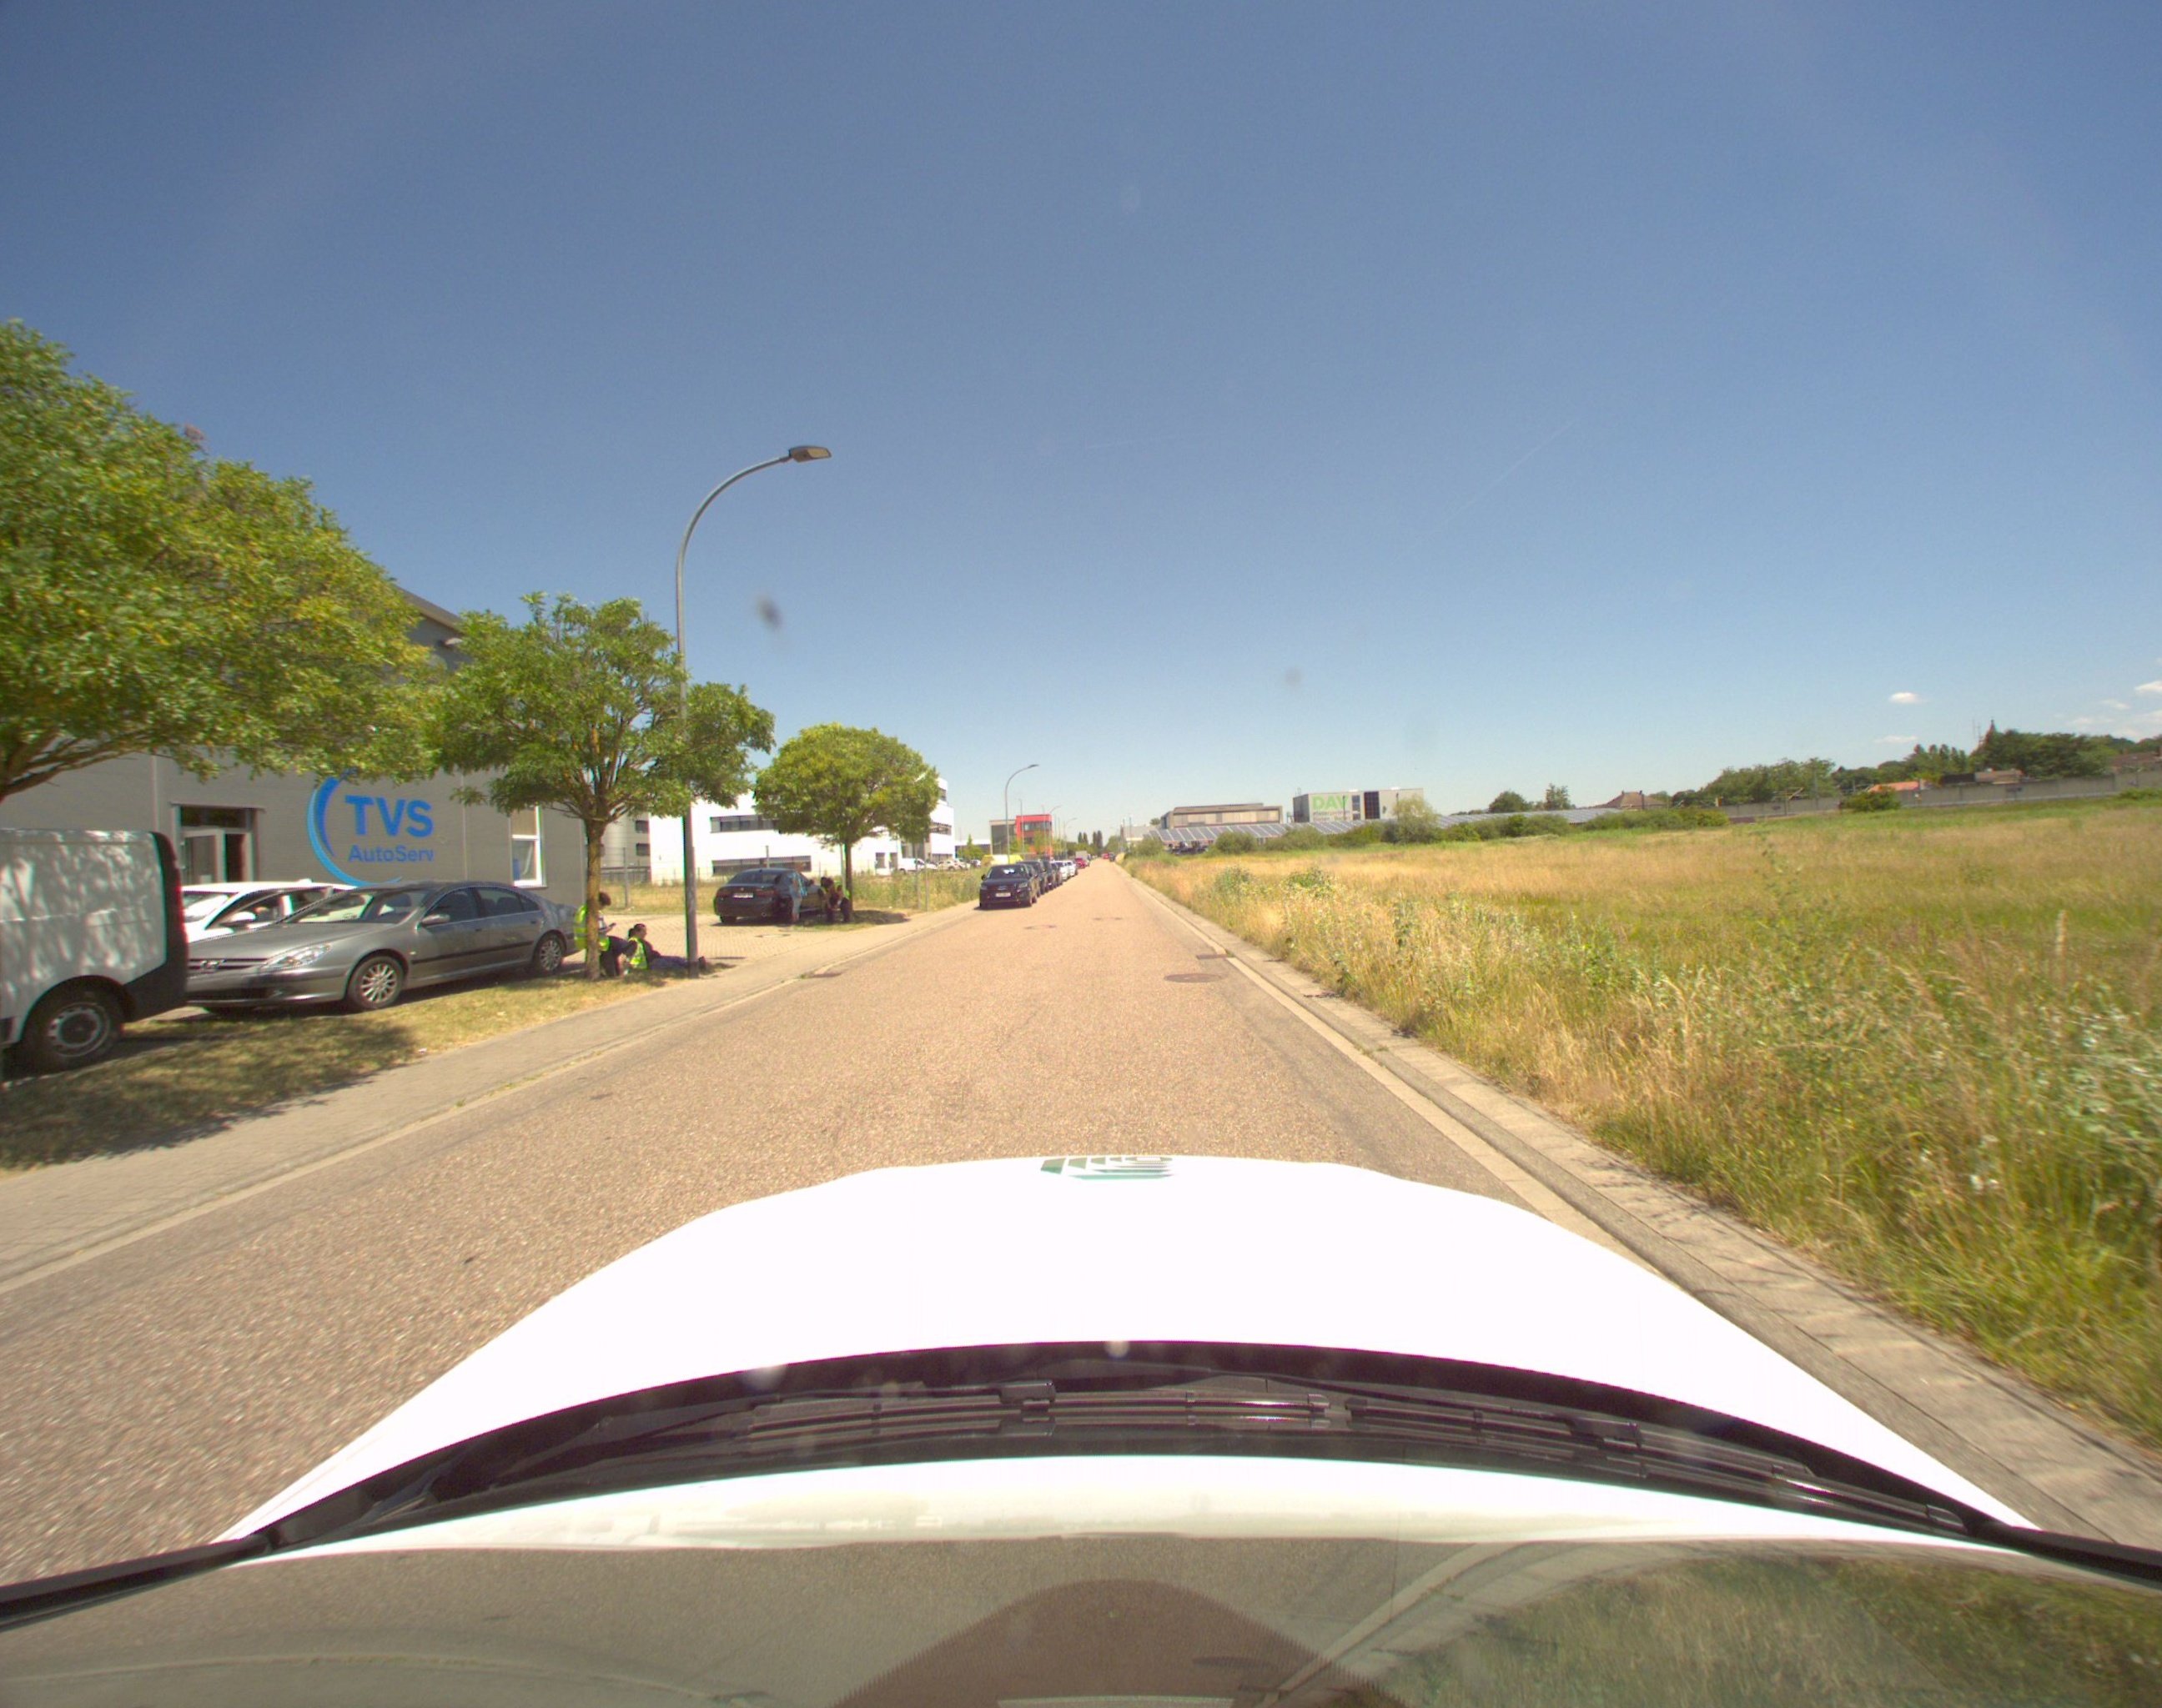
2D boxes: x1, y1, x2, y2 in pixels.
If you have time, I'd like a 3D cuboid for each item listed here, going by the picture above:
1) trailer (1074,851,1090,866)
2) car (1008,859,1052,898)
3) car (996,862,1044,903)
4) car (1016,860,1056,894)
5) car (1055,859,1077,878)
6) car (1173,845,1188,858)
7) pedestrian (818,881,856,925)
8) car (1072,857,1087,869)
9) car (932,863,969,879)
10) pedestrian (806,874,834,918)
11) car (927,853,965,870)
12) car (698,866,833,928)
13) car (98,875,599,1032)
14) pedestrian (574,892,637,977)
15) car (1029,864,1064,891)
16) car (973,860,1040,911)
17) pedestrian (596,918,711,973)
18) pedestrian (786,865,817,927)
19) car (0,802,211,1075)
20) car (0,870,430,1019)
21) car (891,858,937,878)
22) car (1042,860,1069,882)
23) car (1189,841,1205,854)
[{"bbox_3d":[0.118,0.678,123.090,2.193,2.137,4.287,-3,0,1],"label":"trailer"},{"bbox_3d":[-2.452,1.145,39.853,1.671,1.663,4.237,-3,0,1],"label":"car"},{"bbox_3d":[-2.546,1.172,34.814,1.584,1.492,3.834,-3,0,1],"label":"car"},{"bbox_3d":[-2.423,1.216,45.096,1.762,1.663,4.553,-3,0,1],"label":"car"},{"bbox_3d":[-1.335,1.286,73.769,1.780,1.520,3.984,-3,0,1],"label":"car"},{"bbox_3d":[15.871,-0.365,130.306,1.986,2.013,4.001,-3,0,1],"label":"car"},{"bbox_3d":[-6.364,1.272,21.224,0.747,1.099,0.647,0,0,5],"label":"pedestrian"},{"bbox_3d":[-0.218,1.179,111.685,1.780,1.520,3.983,-3,0,1],"label":"car"},{"bbox_3d":[-17.658,2.315,110.304,4.511,1.943,2.032,-3,0,1],"label":"car"},{"bbox_3d":[-7.248,1.154,22.652,0.503,1.191,0.753,0,0,4],"label":"pedestrian"},{"bbox_3d":[-17.829,1.005,107.373,4.511,1.943,2.032,-3,0,1],"label":"car"},{"bbox_3d":[-8.626,1.106,22.756,1.920,1.464,4.692,0,0,0],"label":"car"},{"bbox_3d":[-8.719,1.046,10.506,1.919,1.440,4.843,-3,-1,2],"label":"car"},{"bbox_3d":[-6.658,1.115,11.422,0.475,1.150,0.556,0,-3,11],"label":"pedestrian"},{"bbox_3d":[-2.133,1.426,51.096,1.762,1.486,5.016,-3,0,1],"label":"car"},{"bbox_3d":[-2.594,1.069,29.309,1.920,1.567,4.189,-3,0,0],"label":"car"},{"bbox_3d":[-6.518,1.388,12.468,1.352,0.749,0.753,0,0,3],"label":"pedestrian"},{"bbox_3d":[-7.337,1.084,21.374,0.503,1.595,0.753,0,-1,4],"label":"pedestrian"},{"bbox_3d":[-8.919,0.633,4.923,1.831,2.019,5.124,0,0,-1],"label":"car"},{"bbox_3d":[-11.382,0.989,10.718,1.919,1.464,4.468,0,0,2],"label":"car"},{"bbox_3d":[-18.377,1.550,89.928,4.511,1.943,2.032,-3,0,1],"label":"car"},{"bbox_3d":[-1.943,1.284,62.465,1.780,1.520,3.983,-3,0,1],"label":"car"},{"bbox_3d":[18.487,-1.048,130.086,1.986,2.013,4.001,-3,0,1],"label":"car"}]
